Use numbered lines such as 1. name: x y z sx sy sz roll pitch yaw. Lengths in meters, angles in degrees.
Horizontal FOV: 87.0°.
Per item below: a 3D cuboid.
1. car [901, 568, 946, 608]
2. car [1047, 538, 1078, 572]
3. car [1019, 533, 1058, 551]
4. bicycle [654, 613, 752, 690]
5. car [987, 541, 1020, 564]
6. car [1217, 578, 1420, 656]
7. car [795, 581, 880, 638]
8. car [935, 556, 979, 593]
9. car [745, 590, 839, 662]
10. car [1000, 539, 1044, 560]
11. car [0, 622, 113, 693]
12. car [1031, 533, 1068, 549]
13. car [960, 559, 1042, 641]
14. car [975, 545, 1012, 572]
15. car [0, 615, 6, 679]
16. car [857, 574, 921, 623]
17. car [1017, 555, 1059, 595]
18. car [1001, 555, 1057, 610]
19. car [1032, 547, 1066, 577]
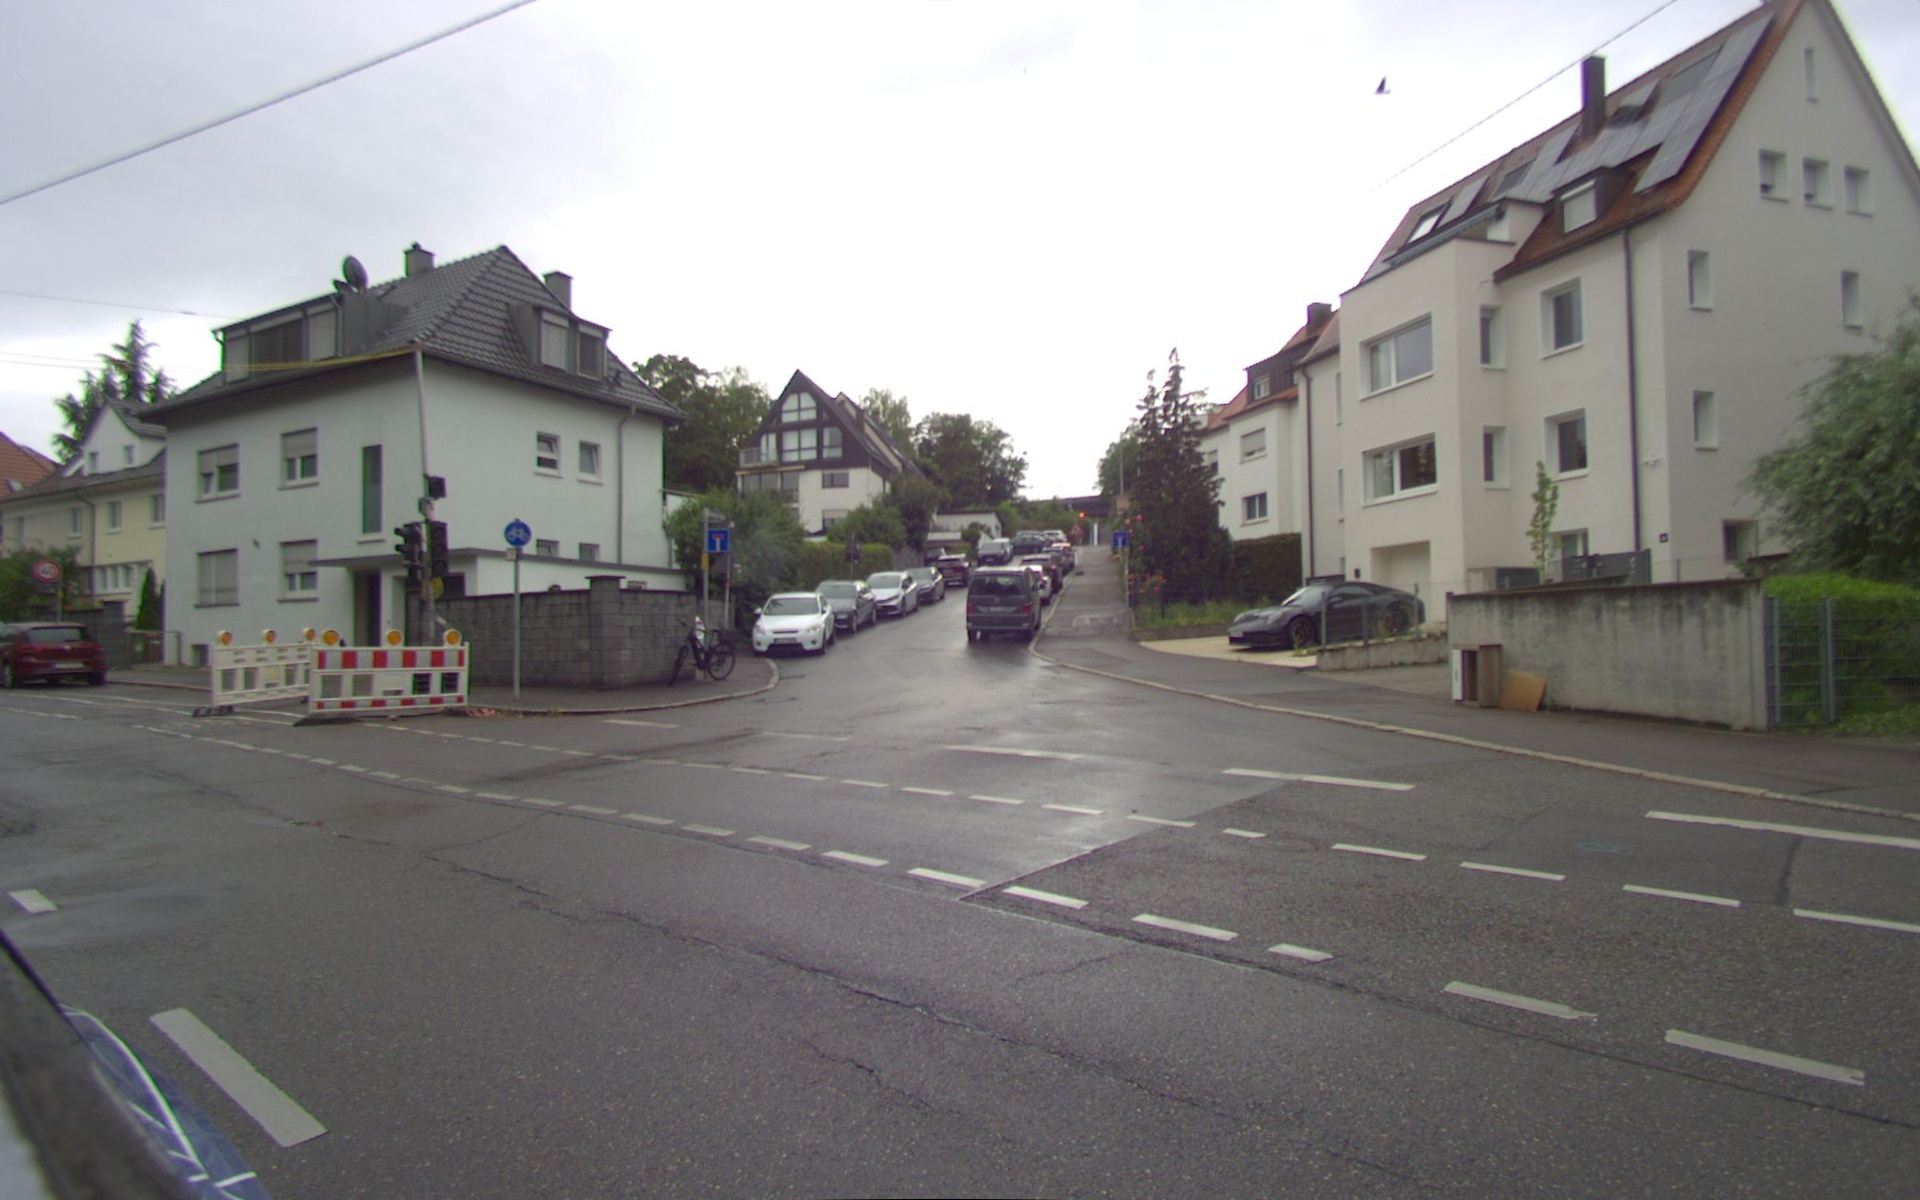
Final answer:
1. car: -1.489 -0.528 42.621 1.320 1.400 3.497 -1 5 7
2. car: 6.393 -2.820 62.714 1.677 1.871 3.553 -2 5 9
3. car: 7.644 -5.658 98.755 3.489 1.510 1.615 -1 6 16
4. bicycle: -4.681 0.908 18.539 0.705 1.321 1.713 -1 0 33
5. car: 3.295 -3.576 75.787 1.720 1.510 3.817 -1 6 13
6. car: 7.707 0.345 21.823 3.857 1.342 1.572 -4 1 -16
7. car: -3.756 0.241 31.688 1.684 1.476 3.847 -2 3 7
8. car: -0.125 -1.359 52.275 1.323 1.566 3.971 -1 6 13
9. car: -4.200 0.605 25.821 1.726 1.476 3.561 -2 3 0
10. car: 5.144 -4.216 83.764 3.572 1.510 1.578 -2 5 7
11. car: -21.456 1.344 23.362 3.785 1.505 1.877 -3 -3 33
12. car: 9.159 -6.074 103.774 3.492 1.510 1.614 -1 6 18
13. car: 1.236 -0.069 28.942 1.893 1.950 3.789 -2 5 9
14. car: 2.311 -2.855 68.677 1.720 1.510 3.817 -1 6 13
15. car: -26.021 1.290 25.735 3.993 1.601 1.652 -4 -1 33
16. car: -2.528 -0.097 36.952 1.564 1.476 3.847 -1 5 7
17. car: 3.503 -1.137 45.104 1.565 1.479 3.553 -2 5 9
18. car: 2.757 -0.716 39.847 1.900 1.850 3.406 -2 5 9
19. car: 5.172 -2.230 58.318 1.677 1.479 3.553 -2 5 9
